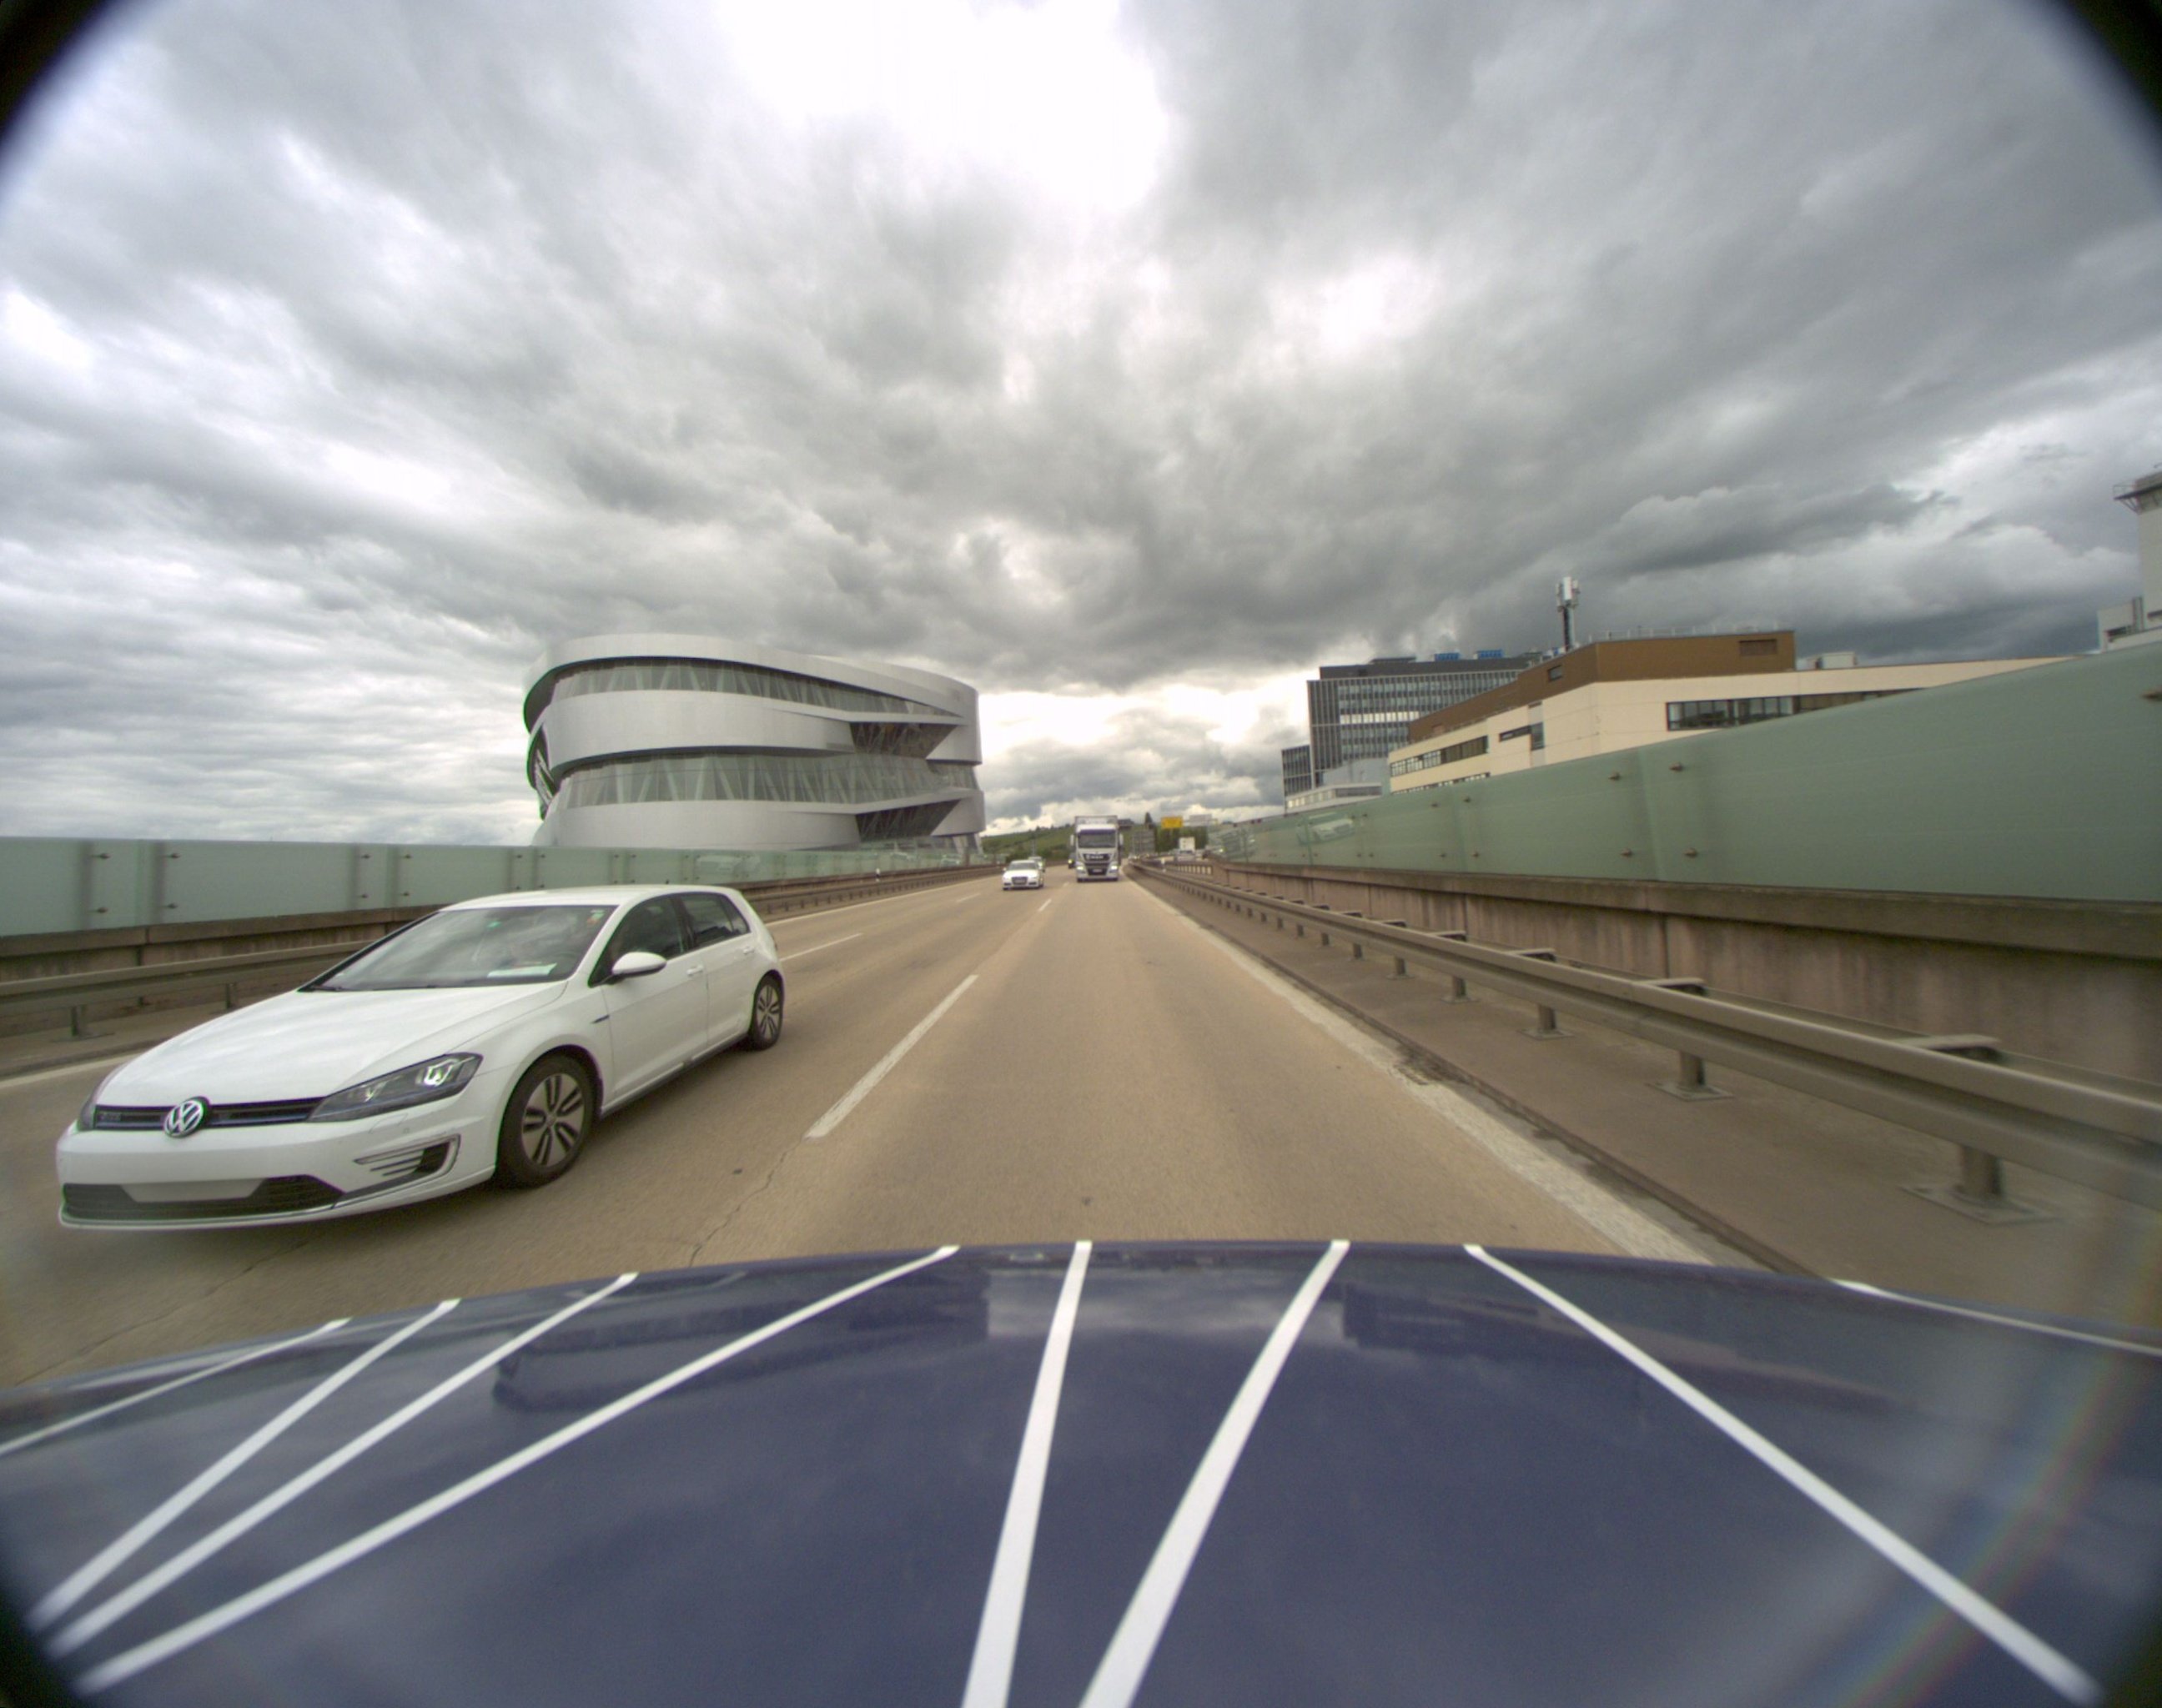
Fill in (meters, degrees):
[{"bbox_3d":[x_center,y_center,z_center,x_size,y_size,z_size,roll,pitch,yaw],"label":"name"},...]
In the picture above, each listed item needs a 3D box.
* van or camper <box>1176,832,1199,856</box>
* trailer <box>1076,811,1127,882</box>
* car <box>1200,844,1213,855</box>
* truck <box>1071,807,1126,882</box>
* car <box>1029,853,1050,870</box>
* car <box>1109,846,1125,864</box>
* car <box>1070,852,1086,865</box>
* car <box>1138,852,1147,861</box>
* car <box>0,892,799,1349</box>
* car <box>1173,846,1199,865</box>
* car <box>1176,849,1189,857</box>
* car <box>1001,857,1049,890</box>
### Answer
[{"bbox_3d":[15.637,-1.437,112.226,2.411,3.368,6.954,-2,1,0],"label":"van or camper"},{"bbox_3d":[1.453,-0.480,51.007,2.879,4.104,11.221,-2,0,3],"label":"trailer"},{"bbox_3d":[20.231,-0.720,122.632,1.758,1.737,4.370,-2,0,4],"label":"car"},{"bbox_3d":[1.163,-0.541,45.814,2.945,4.136,6.292,-2,0,3],"label":"truck"},{"bbox_3d":[-4.326,0.791,79.580,1.785,1.624,3.628,-2,0,2],"label":"car"},{"bbox_3d":[5.095,0.137,108.209,2.144,2.494,4.524,-2,1,2],"label":"car"},{"bbox_3d":[-0.361,0.576,96.754,1.765,1.624,3.628,-2,0,2],"label":"car"},{"bbox_3d":[15.605,0.607,193.015,1.998,2.002,4.000,-2,1,3],"label":"car"},{"bbox_3d":[-3.469,1.091,4.827,1.759,1.443,4.072,-2,0,1],"label":"car"},{"bbox_3d":[9.965,0.130,72.380,1.849,1.663,4.407,-2,0,0],"label":"car"},{"bbox_3d":[21.606,-0.145,162.085,2.027,1.602,4.813,-3,0,-1],"label":"car"},{"bbox_3d":[-2.738,0.946,38.002,1.847,1.443,3.933,-2,0,4],"label":"car"}]
